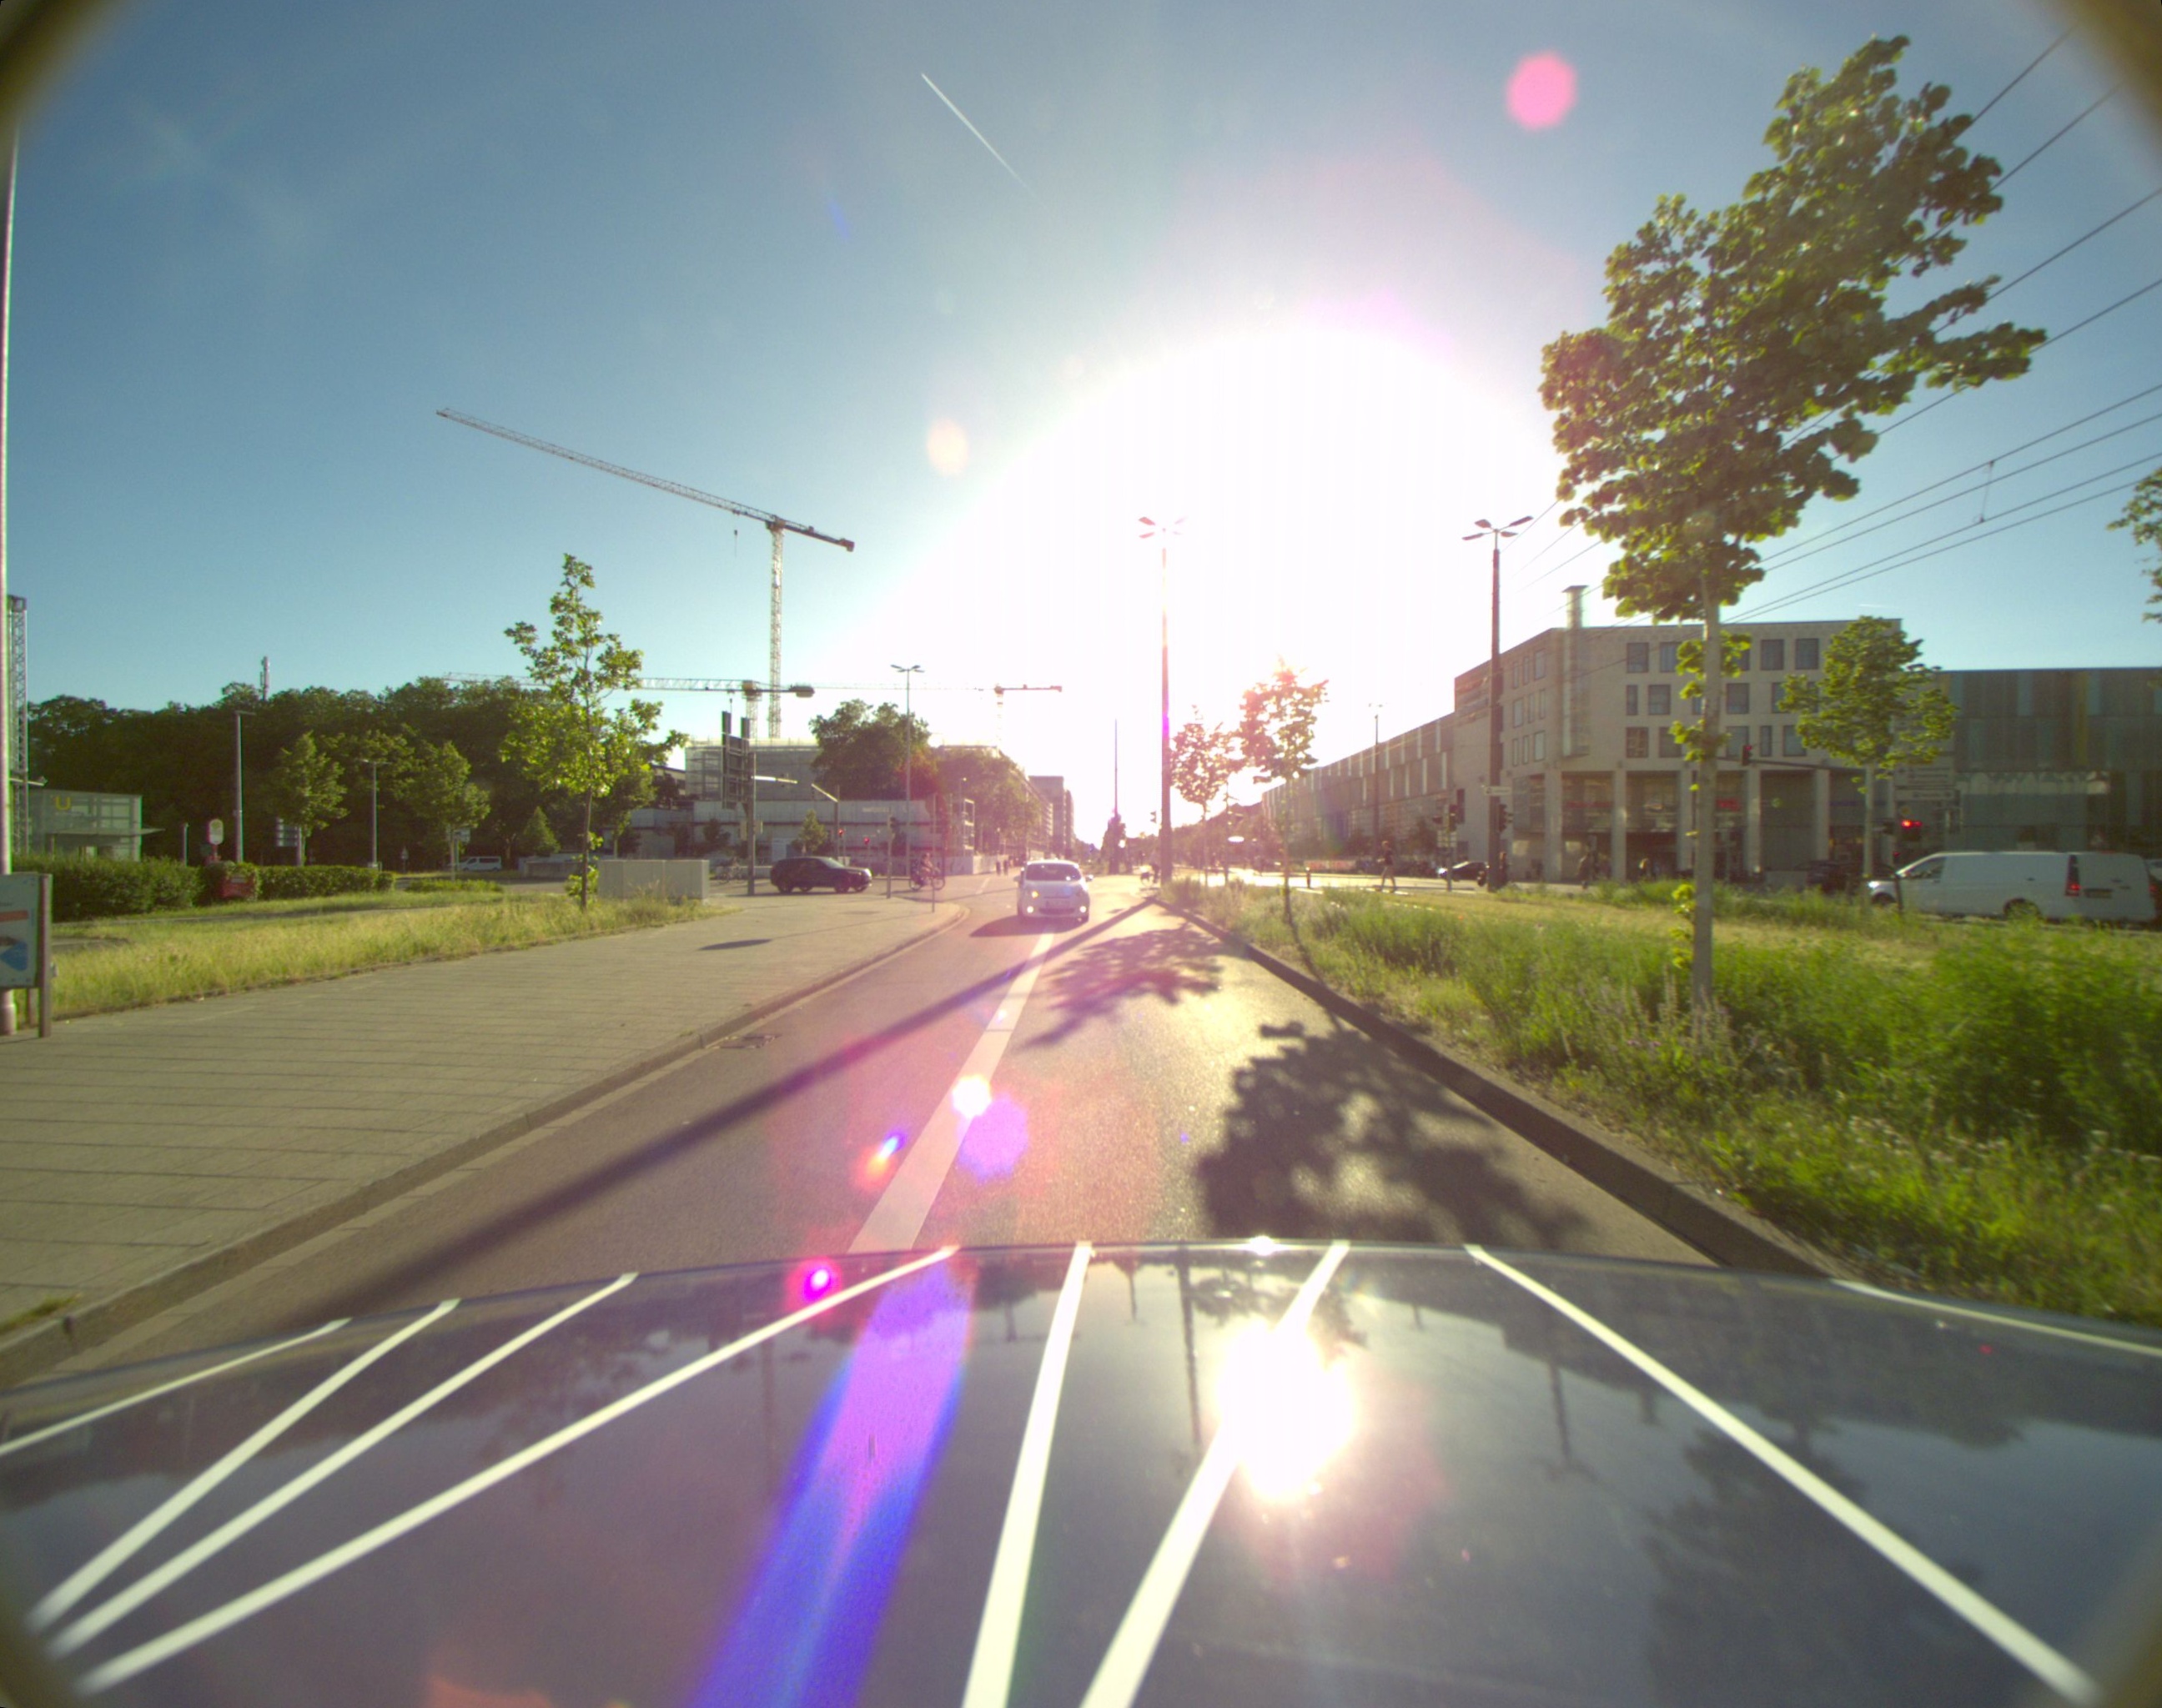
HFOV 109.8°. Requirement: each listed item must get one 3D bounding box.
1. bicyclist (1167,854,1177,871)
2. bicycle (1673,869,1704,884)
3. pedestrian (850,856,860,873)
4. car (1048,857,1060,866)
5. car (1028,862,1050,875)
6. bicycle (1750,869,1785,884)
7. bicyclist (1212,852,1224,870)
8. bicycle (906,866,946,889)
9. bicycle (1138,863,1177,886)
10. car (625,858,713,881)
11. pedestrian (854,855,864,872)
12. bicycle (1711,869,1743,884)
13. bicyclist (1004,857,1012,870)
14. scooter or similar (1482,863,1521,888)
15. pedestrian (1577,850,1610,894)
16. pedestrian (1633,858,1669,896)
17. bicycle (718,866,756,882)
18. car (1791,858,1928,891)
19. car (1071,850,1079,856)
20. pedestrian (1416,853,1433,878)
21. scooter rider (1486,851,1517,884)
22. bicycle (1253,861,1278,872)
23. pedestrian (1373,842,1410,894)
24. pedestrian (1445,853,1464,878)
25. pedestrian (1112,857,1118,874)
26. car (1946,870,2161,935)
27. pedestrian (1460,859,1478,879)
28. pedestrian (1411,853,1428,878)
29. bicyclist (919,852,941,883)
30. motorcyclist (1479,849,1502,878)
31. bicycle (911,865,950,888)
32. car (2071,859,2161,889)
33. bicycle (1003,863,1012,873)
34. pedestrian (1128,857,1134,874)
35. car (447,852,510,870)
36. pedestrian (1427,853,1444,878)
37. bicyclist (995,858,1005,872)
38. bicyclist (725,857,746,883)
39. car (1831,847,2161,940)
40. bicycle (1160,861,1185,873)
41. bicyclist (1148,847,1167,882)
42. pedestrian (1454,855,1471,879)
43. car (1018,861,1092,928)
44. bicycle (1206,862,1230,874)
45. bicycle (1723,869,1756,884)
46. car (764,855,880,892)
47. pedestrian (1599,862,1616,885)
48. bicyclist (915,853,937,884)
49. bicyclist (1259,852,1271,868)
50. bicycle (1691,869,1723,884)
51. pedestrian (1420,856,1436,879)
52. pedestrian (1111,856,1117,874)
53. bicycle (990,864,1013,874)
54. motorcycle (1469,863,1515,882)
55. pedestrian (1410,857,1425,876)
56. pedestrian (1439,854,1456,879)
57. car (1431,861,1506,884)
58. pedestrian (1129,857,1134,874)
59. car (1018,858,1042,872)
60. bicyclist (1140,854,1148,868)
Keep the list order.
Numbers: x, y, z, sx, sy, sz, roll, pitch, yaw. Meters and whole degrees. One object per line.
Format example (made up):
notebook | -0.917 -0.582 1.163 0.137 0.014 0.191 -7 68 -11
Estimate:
bicyclist | 7.690 0.686 64.300 0.842 1.394 0.806 -1 1 9
bicycle | 46.560 1.709 58.269 0.657 1.106 2.412 0 0 7
pedestrian | -21.377 0.973 71.885 0.653 1.579 0.841 0 0 7
car | -4.256 1.224 119.864 1.784 1.317 3.999 0 2 1
car | -4.648 1.606 84.138 1.998 1.368 4.001 -1 0 3
bicycle | 51.791 1.699 57.377 0.683 1.104 2.477 0 0 8
bicyclist | 11.496 0.609 63.879 0.940 1.536 0.649 0 0 11
bicycle | -7.591 1.134 37.129 1.797 1.087 0.653 0 0 12
bicycle | 3.677 0.969 36.537 1.797 1.087 0.710 0 0 14
car | -25.057 0.933 46.238 4.520 1.344 1.777 0 1 8
pedestrian | -21.325 0.891 72.980 0.653 1.670 0.841 0 0 7
bicycle | 49.246 1.717 57.930 0.683 1.104 2.478 0 0 10
bicyclist | -7.324 0.969 75.993 0.805 1.290 0.776 -1 1 -4
scooter or similar | 19.938 1.010 36.041 1.482 1.169 0.644 0 1 4
pedestrian | 20.452 0.705 30.339 0.739 1.734 0.858 -1 0 -1
pedestrian | 23.500 0.934 31.312 0.925 1.540 0.896 -2 0 -33
bicycle | -20.058 1.156 44.287 1.909 0.903 0.624 0 1 1
car | 40.153 1.053 39.278 4.788 1.652 2.201 0 0 0
car | -1.370 -0.179 179.885 1.785 1.317 3.999 0 2 0
pedestrian | 28.938 0.951 64.050 0.948 2.111 0.896 0 1 -33
scooter rider | 19.936 0.640 36.037 1.116 1.535 0.644 0 2 4
bicycle | 16.399 1.072 67.559 2.075 0.922 0.805 -1 1 1
pedestrian | 11.663 0.507 28.533 1.049 1.900 1.015 0 1 7
pedestrian | 31.430 0.969 63.924 1.100 2.116 1.060 0 1 -34
pedestrian | 3.026 1.015 67.644 0.450 1.557 0.520 0 1 7
car | 26.627 1.263 20.639 1.844 1.477 3.881 3 0 2
pedestrian | 32.121 1.200 62.863 0.950 1.641 1.005 0 1 -34
pedestrian | 29.244 0.969 65.627 0.948 2.111 0.896 0 1 -27
bicyclist | -7.527 0.672 37.987 0.893 1.566 0.626 0 0 12
motorcyclist | 21.371 0.501 39.657 0.880 1.475 0.758 0 1 11
bicycle | -7.538 1.132 37.984 1.813 1.110 0.626 0 0 12
car | 63.166 1.180 45.409 4.544 1.703 2.126 1 2 11
bicycle | -7.318 1.407 75.989 0.805 0.922 2.076 -1 0 -4
pedestrian | 4.439 1.026 67.375 0.450 1.557 0.520 0 1 7
car | -66.567 0.782 84.035 1.997 1.880 5.336 -1 0 12
pedestrian | 30.706 0.974 65.815 0.948 2.111 0.897 0 1 -21
bicyclist | -7.789 1.051 73.489 0.636 1.263 0.807 -1 1 23
bicyclist | -20.143 0.928 44.286 0.937 1.495 0.624 0 1 1
car | 23.540 0.887 19.858 2.264 2.002 5.709 2 0 2
bicycle | 7.735 1.127 64.298 2.074 0.973 0.806 -1 1 9
bicyclist | 3.675 0.502 36.522 0.785 1.659 0.702 0 0 14
pedestrian | 32.790 1.113 65.342 1.025 2.002 0.915 0 1 -32
car | -0.732 0.952 19.397 1.660 1.463 3.967 -1 0 -4
bicycle | 11.496 1.173 63.878 1.975 0.991 0.649 -1 0 11
bicycle | 50.035 1.703 57.740 0.683 1.104 2.477 0 0 8
car | -12.091 0.862 35.619 4.784 1.652 2.002 0 0 12
pedestrian | 39.808 1.491 57.438 0.756 1.730 0.753 0 1 5
bicyclist | -7.568 0.707 37.125 0.846 1.534 0.653 0 0 12
bicyclist | 16.388 0.547 67.556 0.841 1.349 0.805 -1 1 1
bicycle | 47.898 1.707 58.135 0.683 1.104 2.477 0 0 8
pedestrian | 31.091 1.199 68.120 0.947 2.111 0.897 0 1 -9
pedestrian | 2.923 0.957 67.061 0.450 1.557 0.520 0 1 7
bicycle | -7.718 1.412 73.468 2.072 0.922 0.807 -1 1 23
motorcycle | 21.432 0.951 39.656 1.956 0.963 0.758 0 1 11
pedestrian | 27.955 1.038 63.106 0.943 1.562 0.843 1 1 39
pedestrian | 32.364 1.094 67.074 0.948 2.111 0.897 0 1 -18
car | 27.325 1.293 53.716 4.289 1.571 1.945 0 0 5
pedestrian | 4.555 1.040 68.359 0.450 1.557 0.520 0 1 7
car | -5.187 1.144 77.980 1.998 1.368 4.001 -1 0 3
bicyclist | 6.627 0.720 80.478 0.756 1.496 0.617 0 0 -5
